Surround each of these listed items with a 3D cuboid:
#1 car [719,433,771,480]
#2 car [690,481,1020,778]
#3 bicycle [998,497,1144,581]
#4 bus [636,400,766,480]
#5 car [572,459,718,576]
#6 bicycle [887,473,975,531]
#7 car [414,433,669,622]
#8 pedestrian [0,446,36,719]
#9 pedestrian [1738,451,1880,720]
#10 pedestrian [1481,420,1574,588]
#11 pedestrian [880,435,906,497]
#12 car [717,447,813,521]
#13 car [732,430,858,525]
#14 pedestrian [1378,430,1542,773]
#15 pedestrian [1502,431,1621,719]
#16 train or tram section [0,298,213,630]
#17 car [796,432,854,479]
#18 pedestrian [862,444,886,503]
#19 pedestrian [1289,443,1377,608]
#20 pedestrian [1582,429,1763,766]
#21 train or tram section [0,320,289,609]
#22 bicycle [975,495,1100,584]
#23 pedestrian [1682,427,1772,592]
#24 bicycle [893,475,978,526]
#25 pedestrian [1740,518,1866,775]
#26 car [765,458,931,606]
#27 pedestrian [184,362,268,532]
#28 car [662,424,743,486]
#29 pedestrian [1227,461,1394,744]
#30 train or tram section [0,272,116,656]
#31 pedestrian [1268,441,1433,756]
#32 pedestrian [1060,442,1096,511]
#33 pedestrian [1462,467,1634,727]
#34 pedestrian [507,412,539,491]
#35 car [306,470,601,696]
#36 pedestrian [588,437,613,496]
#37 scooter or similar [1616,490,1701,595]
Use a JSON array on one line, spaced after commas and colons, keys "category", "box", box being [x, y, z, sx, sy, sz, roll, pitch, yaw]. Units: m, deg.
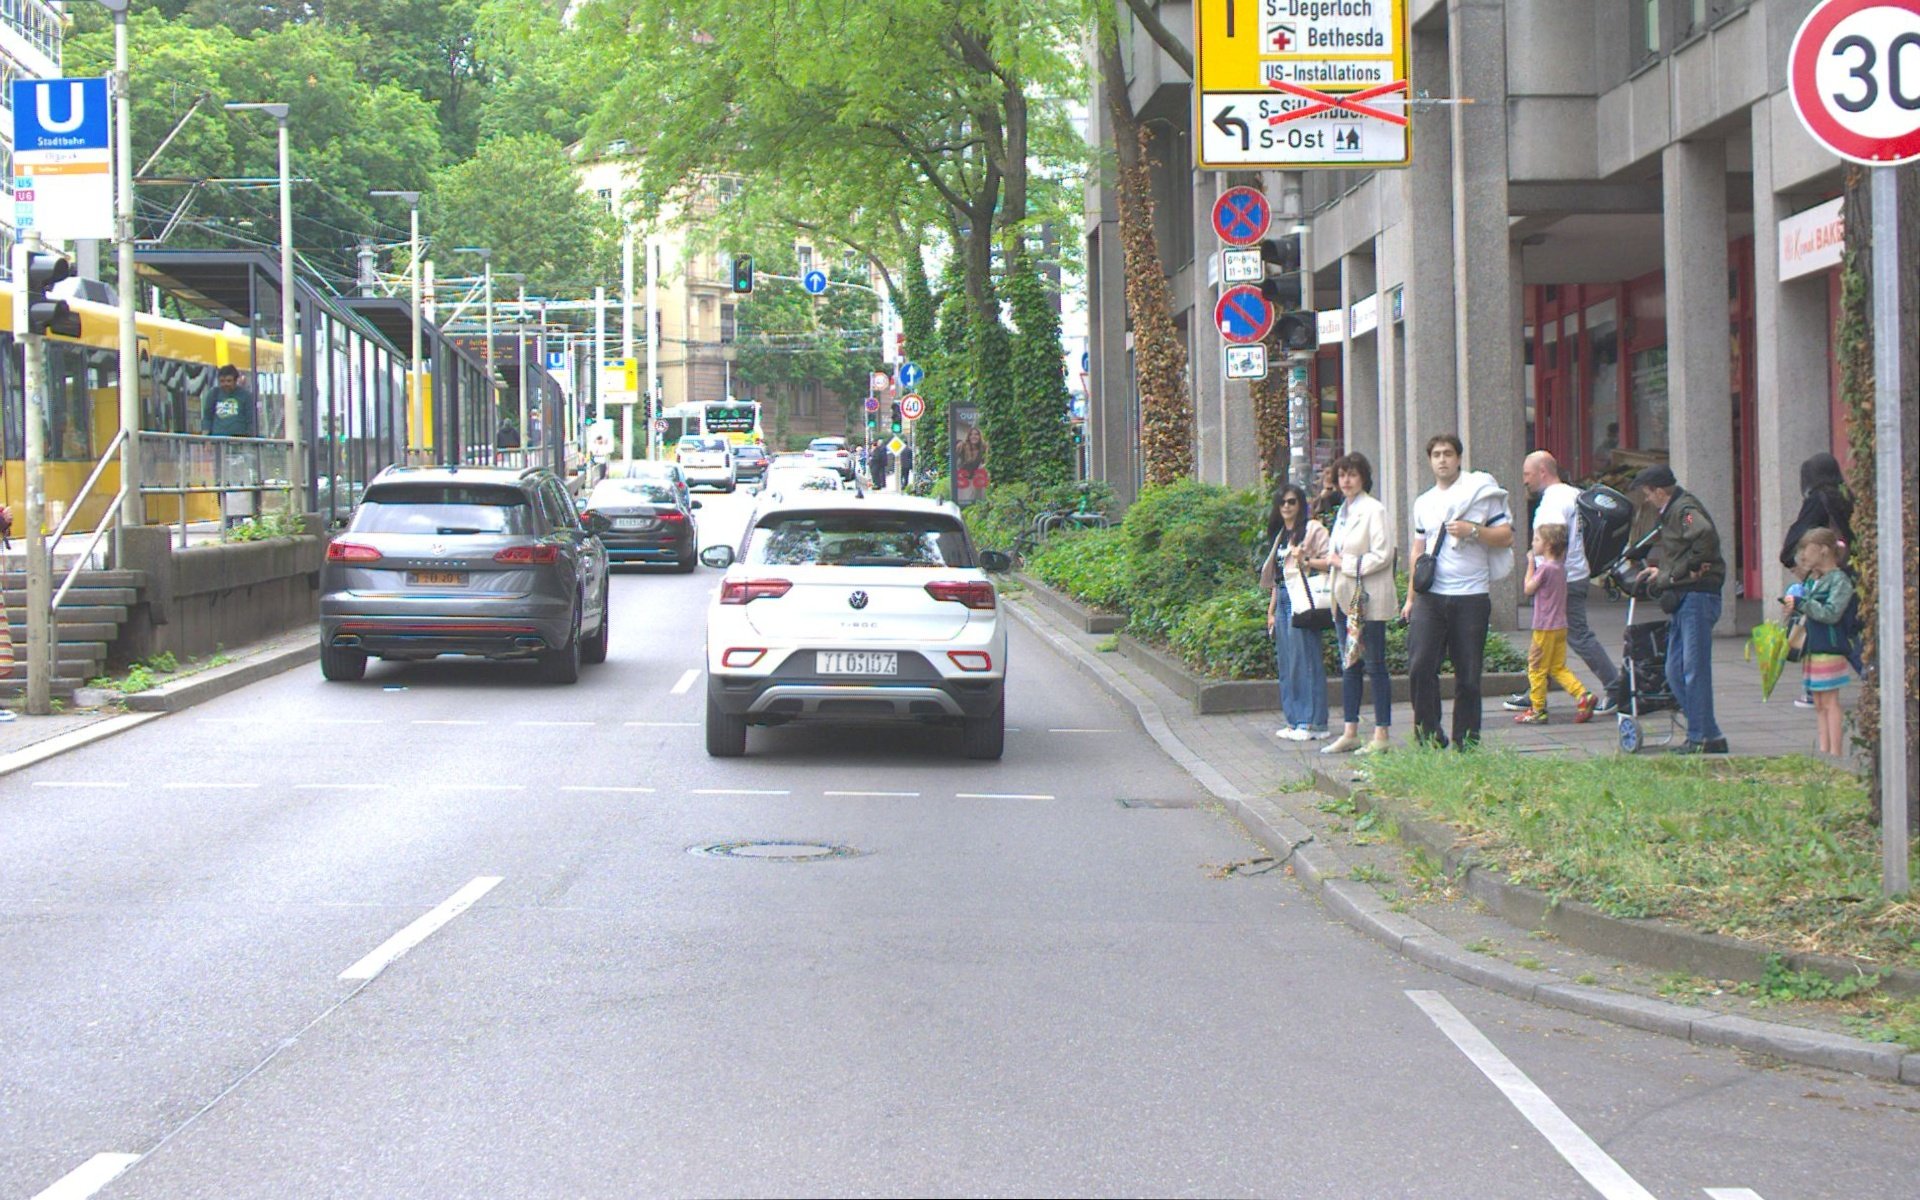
[{"category": "car", "box": [-8.309, -5.564, 133.276, 1.884, 1.678, 4.162, 1, 1, -2]}, {"category": "car", "box": [-0.623, 0.099, 21.588, 1.837, 1.578, 4.158, 2, 3, -1]}, {"category": "bicycle", "box": [1.527, -0.842, 47.335, 1.915, 1.073, 0.613, -2, 2, -5]}, {"category": "bus", "box": [-11.512, -6.962, 151.246, 3.371, 3.054, 13.329, 1, 1, -14]}, {"category": "car", "box": [-4.827, -1.315, 53.185, 1.912, 1.683, 4.001, 1, 3, -1]}, {"category": "bicycle", "box": [-0.663, -2.222, 78.008, 1.881, 1.262, 0.764, 1, 1, 8]}, {"category": "car", "box": [-4.742, -0.823, 39.705, 2.364, 2.007, 5.148, 1, 1, -1]}, {"category": "pedestrian", "box": [-6.301, -0.119, 21.831, 0.685, 1.705, 0.712, 0, 2, -3]}, {"category": "pedestrian", "box": [5.263, -0.104, 21.292, 0.617, 1.606, 0.763, 1, 5, 33]}, {"category": "pedestrian", "box": [6.245, -1.063, 37.847, 0.831, 1.797, 0.723, -2, 2, -2]}, {"category": "pedestrian", "box": [-2.186, -4.348, 111.569, 0.762, 2.007, 0.838, 1, 1, 3]}, {"category": "car", "box": [-5.703, -3.340, 99.953, 2.364, 2.007, 5.149, 1, 1, -8]}, {"category": "car", "box": [-3.138, -2.267, 64.609, 1.884, 1.678, 4.162, 1, 1, -9]}, {"category": "pedestrian", "box": [2.775, 0.002, 19.142, 0.733, 1.868, 0.733, 0, 1, -7]}, {"category": "pedestrian", "box": [3.800, -0.161, 21.751, 0.518, 1.783, 0.764, 1, 1, -7]}, {"category": "train or tram section", "box": [-10.505, -1.545, 39.324, 2.835, 3.508, 5.753, 1, 2, -2]}, {"category": "car", "box": [-5.328, -5.670, 135.295, 1.884, 1.678, 4.162, 1, 1, -7]}, {"category": "pedestrian", "box": [-2.964, -4.365, 118.427, 0.762, 2.007, 0.838, 1, 1, 3]}, {"category": "pedestrian", "box": [4.149, -0.835, 38.291, 0.762, 1.776, 0.848, -2, 4, -8]}, {"category": "pedestrian", "box": [3.956, -0.034, 19.120, 0.721, 1.796, 0.835, -2, 4, -7]}, {"category": "train or tram section", "box": [-10.703, -1.754, 45.101, 2.835, 3.508, 5.753, 1, 2, -2]}, {"category": "bicycle", "box": [1.040, -0.818, 46.095, 1.620, 1.124, 0.613, -2, 2, 1]}, {"category": "pedestrian", "box": [8.155, -0.959, 36.564, 0.762, 1.717, 0.677, -2, 1, 0]}, {"category": "bicycle", "box": [-0.563, -2.301, 79.504, 1.881, 1.133, 0.808, 1, 1, 4]}, {"category": "pedestrian", "box": [4.449, 0.239, 18.152, 0.471, 1.329, 0.520, 1, 1, -7]}, {"category": "car", "box": [-1.397, -0.812, 41.631, 1.884, 1.678, 4.162, 1, 1, -3]}, {"category": "pedestrian", "box": [-7.564, -1.567, 35.463, 0.717, 1.725, 0.671, 1, 1, -1]}, {"category": "car", "box": [-8.969, -5.034, 120.113, 2.364, 2.007, 5.148, 1, 1, 1]}, {"category": "pedestrian", "box": [2.171, 0.005, 21.369, 0.835, 1.698, 0.764, -2, 2, -7]}, {"category": "train or tram section", "box": [-10.283, -1.330, 33.575, 2.835, 3.508, 5.753, 1, 2, -2]}, {"category": "pedestrian", "box": [2.290, -0.019, 20.232, 0.693, 1.771, 0.690, -5, 2, -7]}, {"category": "pedestrian", "box": [2.771, -2.908, 80.799, 0.635, 1.602, 0.588, 1, 1, -23]}, {"category": "pedestrian", "box": [3.599, -0.024, 21.100, 0.835, 1.557, 0.764, 1, 1, -7]}, {"category": "pedestrian", "box": [-11.260, -3.823, 88.493, 0.762, 2.007, 0.838, 1, 1, -10]}, {"category": "car", "box": [-3.959, -0.199, 27.479, 1.993, 1.630, 4.001, 0, 3, -3]}, {"category": "pedestrian", "box": [-12.440, -4.606, 118.919, 0.762, 2.007, 0.838, 1, 1, -2]}, {"category": "scooter or similar", "box": [7.619, -0.628, 37.506, 0.856, 1.106, 0.764, -1, 1, 14]}]
